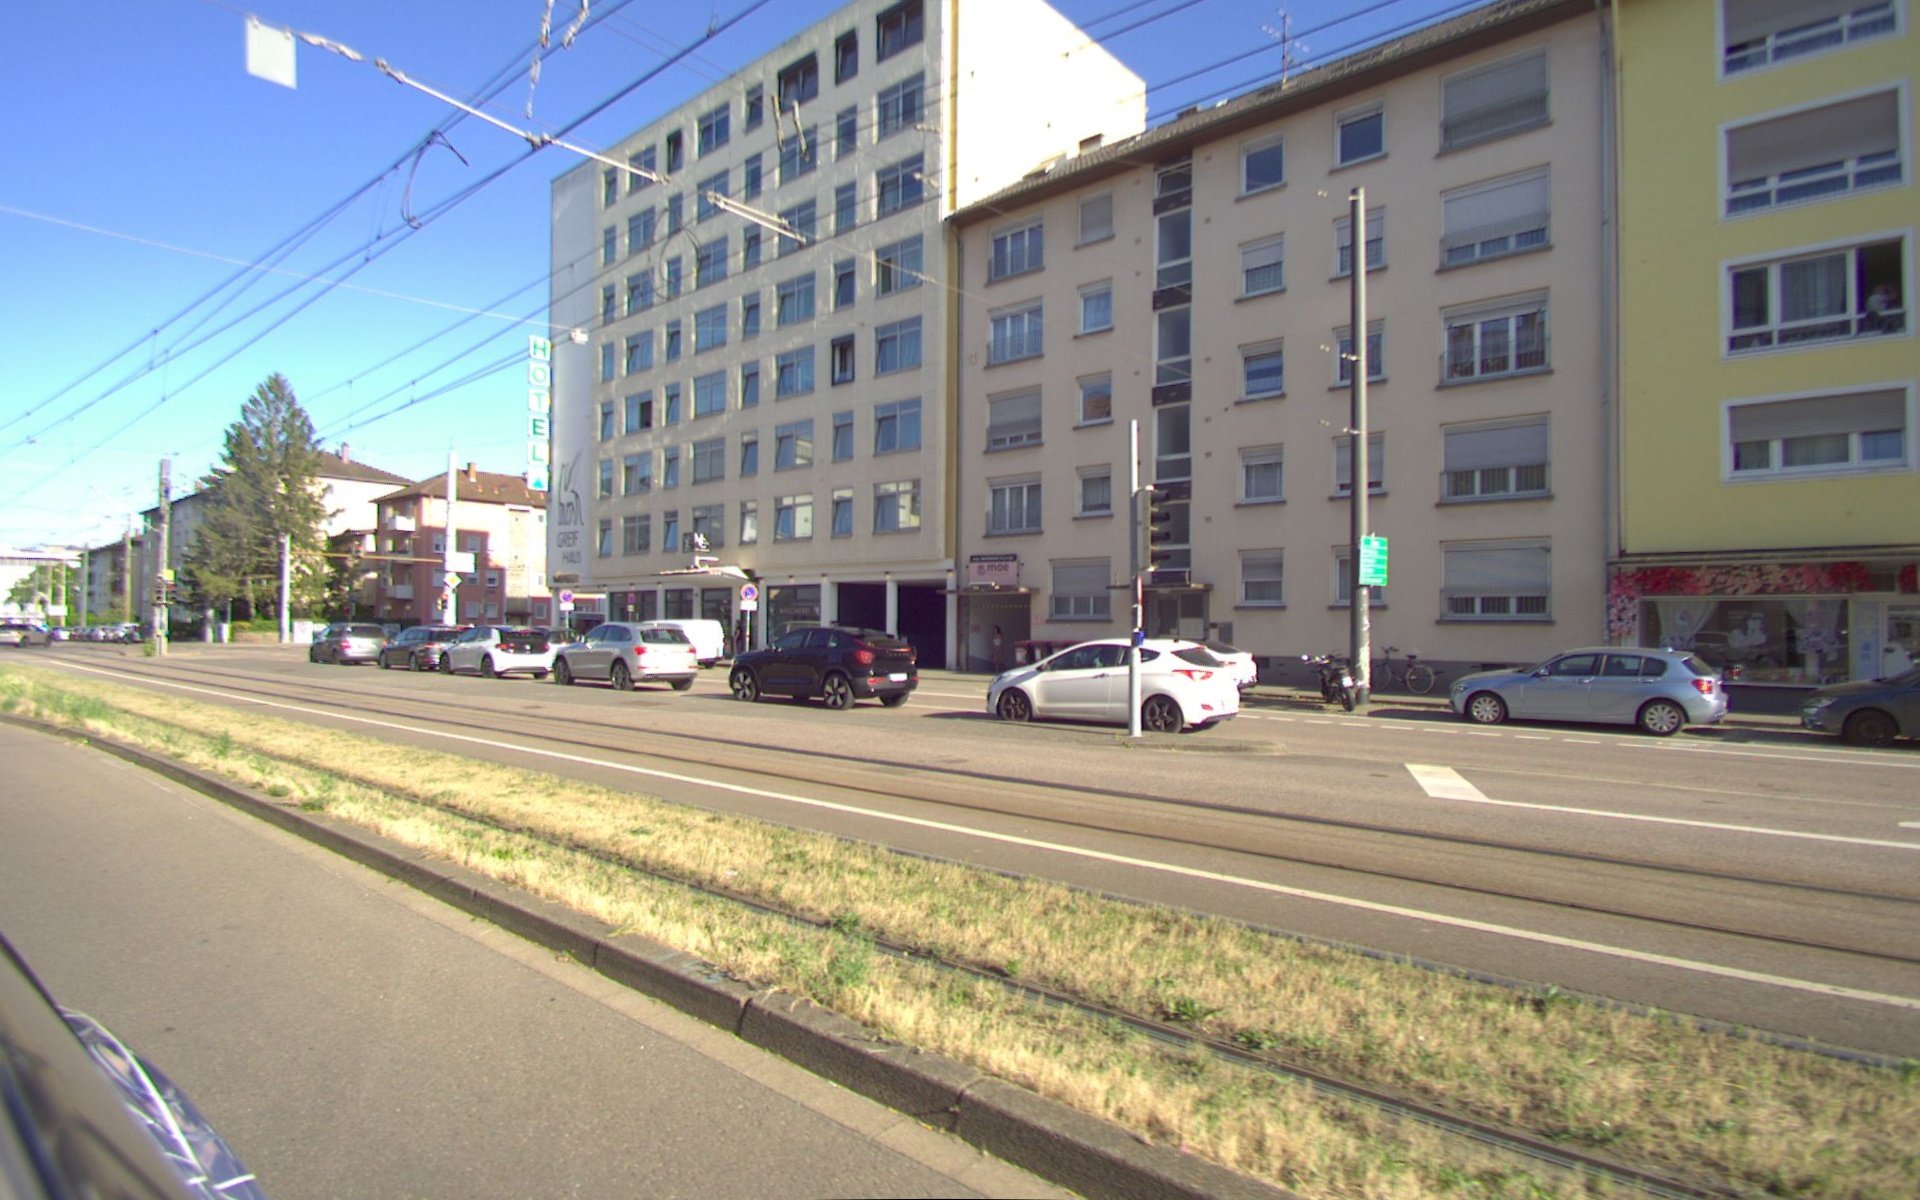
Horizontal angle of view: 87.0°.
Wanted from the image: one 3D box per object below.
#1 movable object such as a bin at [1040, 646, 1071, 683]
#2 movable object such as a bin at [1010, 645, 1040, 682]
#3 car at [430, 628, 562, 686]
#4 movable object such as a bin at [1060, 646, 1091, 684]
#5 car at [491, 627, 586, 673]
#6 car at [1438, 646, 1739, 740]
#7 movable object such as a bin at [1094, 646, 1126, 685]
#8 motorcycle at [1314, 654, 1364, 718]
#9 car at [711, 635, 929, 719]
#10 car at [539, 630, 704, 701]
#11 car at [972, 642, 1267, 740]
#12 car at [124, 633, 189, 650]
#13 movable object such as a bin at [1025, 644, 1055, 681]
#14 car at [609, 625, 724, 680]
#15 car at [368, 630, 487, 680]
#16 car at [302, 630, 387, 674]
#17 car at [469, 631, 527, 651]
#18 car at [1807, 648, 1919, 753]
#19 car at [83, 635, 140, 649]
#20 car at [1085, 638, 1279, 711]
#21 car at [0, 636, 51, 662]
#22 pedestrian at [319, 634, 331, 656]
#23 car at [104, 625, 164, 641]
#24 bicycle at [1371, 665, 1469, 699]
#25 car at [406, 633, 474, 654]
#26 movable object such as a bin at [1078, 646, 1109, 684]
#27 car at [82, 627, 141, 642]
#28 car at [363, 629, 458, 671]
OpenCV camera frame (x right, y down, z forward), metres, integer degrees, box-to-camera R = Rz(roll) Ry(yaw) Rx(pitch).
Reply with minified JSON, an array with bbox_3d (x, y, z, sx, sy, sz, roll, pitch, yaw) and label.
[{"bbox_3d":[2.874,1.926,30.380,0.546,1.059,0.764,-2,0,41],"label":"movable object such as a bin"},{"bbox_3d":[2.003,1.948,31.189,0.546,1.059,0.764,-2,0,41],"label":"movable object such as a bin"},{"bbox_3d":[-13.748,1.674,29.905,4.236,1.562,1.838,-2,-5,40],"label":"car"},{"bbox_3d":[3.412,1.919,29.882,0.546,1.059,0.764,-2,0,41],"label":"movable object such as a bin"},{"bbox_3d":[-14.798,1.737,35.489,3.569,1.512,1.551,-2,-5,40],"label":"car"},{"bbox_3d":[11.243,1.580,18.277,4.411,1.395,1.765,-2,0,40],"label":"car"},{"bbox_3d":[4.315,1.867,29.071,0.546,1.059,0.764,-2,0,41],"label":"movable object such as a bin"},{"bbox_3d":[7.916,1.768,21.203,0.481,1.147,2.107,-2,0,8],"label":"motorcycle"},{"bbox_3d":[-2.902,1.510,20.570,4.407,1.540,1.767,-2,-4,37],"label":"car"},{"bbox_3d":[-8.454,1.583,25.065,4.605,1.593,1.764,-2,-4,41],"label":"car"},{"bbox_3d":[2.517,1.388,16.434,4.406,1.395,1.817,-2,-4,36],"label":"car"},{"bbox_3d":[-66.602,3.464,83.961,1.737,1.342,3.946,-2,-4,40],"label":"car"},{"bbox_3d":[2.444,1.902,30.764,0.546,1.059,0.764,-2,0,41],"label":"movable object such as a bin"},{"bbox_3d":[-11.357,1.970,38.986,4.665,1.912,1.974,-2,0,40],"label":"car"},{"bbox_3d":[-17.976,1.828,34.095,4.362,1.562,1.973,-2,-5,40],"label":"car"},{"bbox_3d":[-23.540,1.968,38.668,3.998,1.571,1.596,-2,-5,41],"label":"car"},{"bbox_3d":[-38.044,3.393,83.422,1.747,1.453,3.946,-2,0,41],"label":"car"},{"bbox_3d":[15.359,1.493,14.865,4.413,1.431,1.764,-2,0,41],"label":"car"},{"bbox_3d":[-81.473,4.023,97.249,1.737,1.342,3.946,-2,-4,40],"label":"car"},{"bbox_3d":[5.221,1.699,24.123,4.198,1.497,1.740,-2,0,41],"label":"car"},{"bbox_3d":[-55.736,2.879,59.750,1.693,1.397,3.725,-1,0,-18],"label":"car"},{"bbox_3d":[-45.989,3.249,73.307,0.510,1.618,0.607,-2,0,39],"label":"pedestrian"},{"bbox_3d":[-74.802,3.013,91.660,1.737,1.342,3.946,-2,-4,40],"label":"car"},{"bbox_3d":[10.694,1.897,23.584,1.995,0.698,0.595,-2,0,42],"label":"bicycle"},{"bbox_3d":[-40.843,3.415,79.527,1.859,1.453,4.404,-2,0,41],"label":"car"},{"bbox_3d":[3.887,1.879,29.464,0.546,1.059,0.764,-2,0,41],"label":"movable object such as a bin"},{"bbox_3d":[-78.853,3.247,94.087,1.737,1.342,3.946,-2,-4,40],"label":"car"},{"bbox_3d":[-22.003,1.972,40.483,3.996,1.571,1.973,-2,-3,40],"label":"car"}]
